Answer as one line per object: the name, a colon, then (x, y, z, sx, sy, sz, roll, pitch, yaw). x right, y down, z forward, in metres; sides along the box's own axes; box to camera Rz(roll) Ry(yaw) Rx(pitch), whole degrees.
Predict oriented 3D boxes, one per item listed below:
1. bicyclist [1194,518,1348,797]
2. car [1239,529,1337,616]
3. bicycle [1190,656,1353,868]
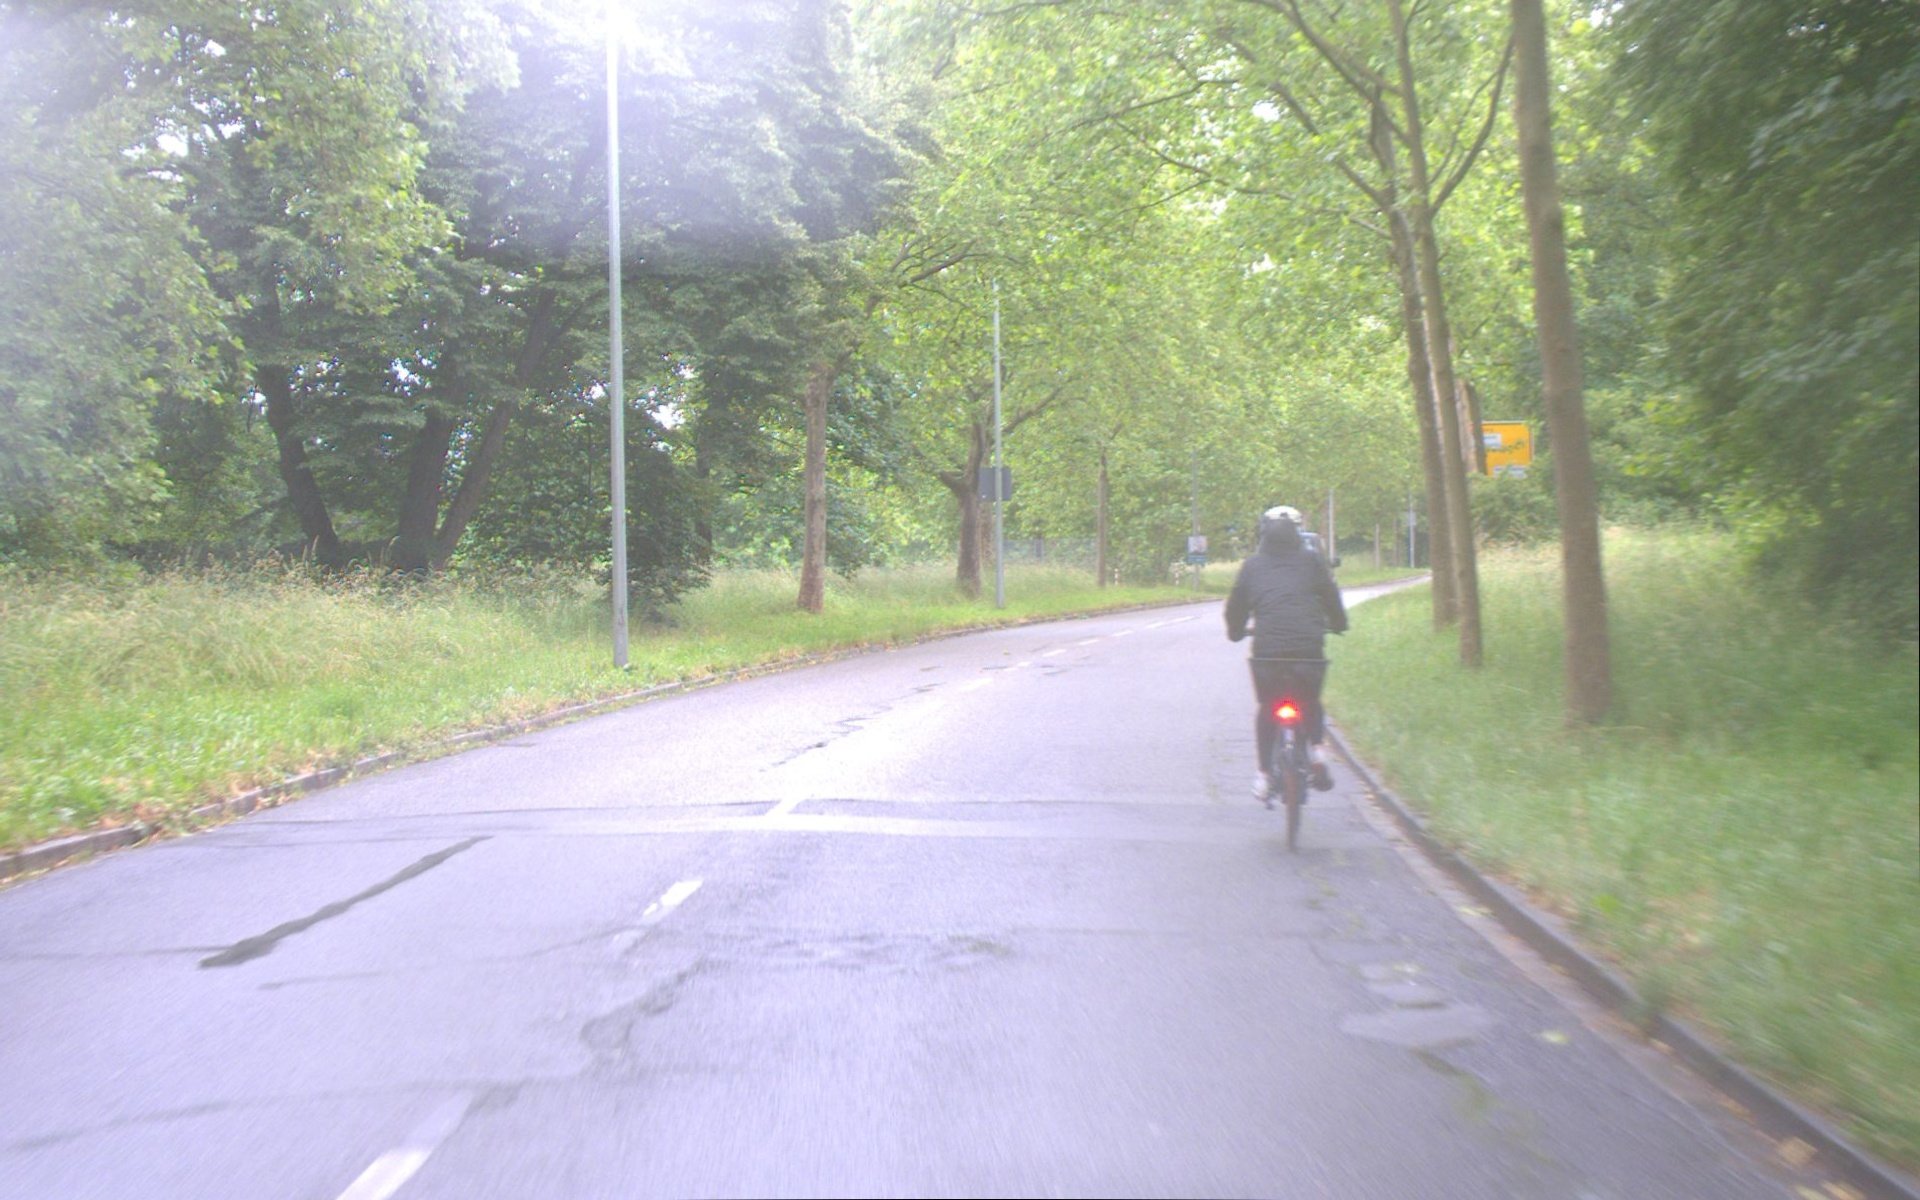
bicyclist: (1.615, 0.283, 17.961, 0.730, 1.406, 0.973, 1, 1, 2)
car: (7.479, -0.641, 78.051, 1.986, 1.919, 3.999, 0, 1, 9)
bicycle: (1.615, 0.822, 18.122, 0.730, 0.970, 2.173, 1, 1, 2)
